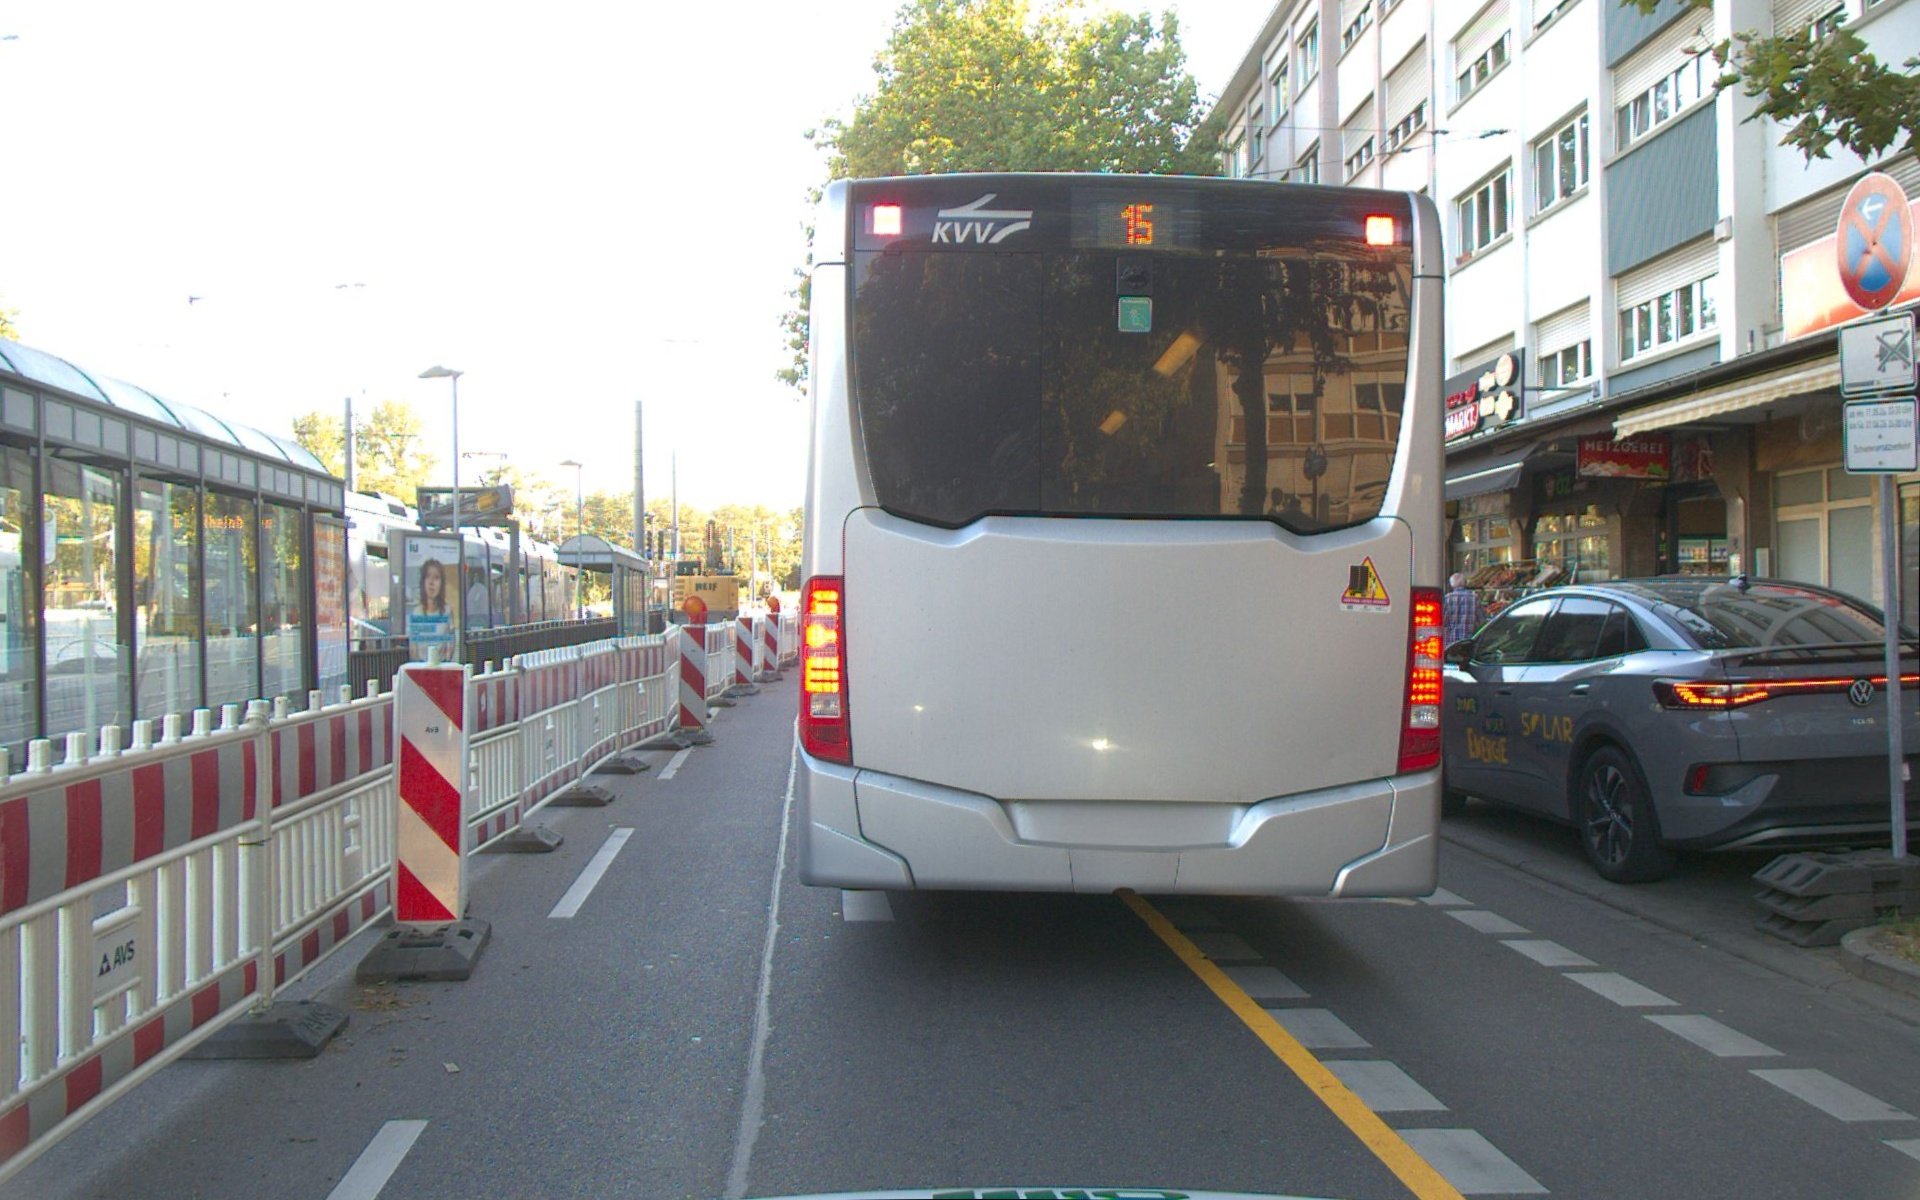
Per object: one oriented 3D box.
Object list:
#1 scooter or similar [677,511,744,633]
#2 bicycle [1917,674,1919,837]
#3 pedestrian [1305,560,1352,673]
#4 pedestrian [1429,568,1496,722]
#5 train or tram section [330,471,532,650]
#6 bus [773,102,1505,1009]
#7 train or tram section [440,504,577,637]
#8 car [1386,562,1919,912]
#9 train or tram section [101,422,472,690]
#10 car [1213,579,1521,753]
[{"bbox_3d":[-9.710,-1.043,64.677,2.422,4.549,5.962,0,0,-8],"label":"scooter or similar"},{"bbox_3d":[4.371,0.905,6.406,0.541,1.175,1.444,-1,0,3],"label":"bicycle"},{"bbox_3d":[6.811,0.299,30.571,0.672,2.049,0.786,-1,0,-1],"label":"pedestrian"},{"bbox_3d":[5.691,0.502,18.762,0.649,1.696,0.601,-2,-1,15],"label":"pedestrian"},{"bbox_3d":[-12.391,-0.792,39.852,2.636,3.621,11.560,1,0,-8],"label":"train or tram section"},{"bbox_3d":[0.591,-0.144,9.900,2.558,3.181,7.991,1,0,-1],"label":"bus"},{"bbox_3d":[-13.781,-0.795,51.359,2.636,3.594,11.559,1,0,-8],"label":"train or tram section"},{"bbox_3d":[4.368,0.631,10.207,1.955,1.609,4.363,-3,1,-5],"label":"car"},{"bbox_3d":[-10.865,-0.574,28.329,2.635,3.595,11.755,1,0,-6],"label":"train or tram section"},{"bbox_3d":[4.343,0.631,18.422,1.955,1.609,4.363,-3,1,-5],"label":"car"}]
